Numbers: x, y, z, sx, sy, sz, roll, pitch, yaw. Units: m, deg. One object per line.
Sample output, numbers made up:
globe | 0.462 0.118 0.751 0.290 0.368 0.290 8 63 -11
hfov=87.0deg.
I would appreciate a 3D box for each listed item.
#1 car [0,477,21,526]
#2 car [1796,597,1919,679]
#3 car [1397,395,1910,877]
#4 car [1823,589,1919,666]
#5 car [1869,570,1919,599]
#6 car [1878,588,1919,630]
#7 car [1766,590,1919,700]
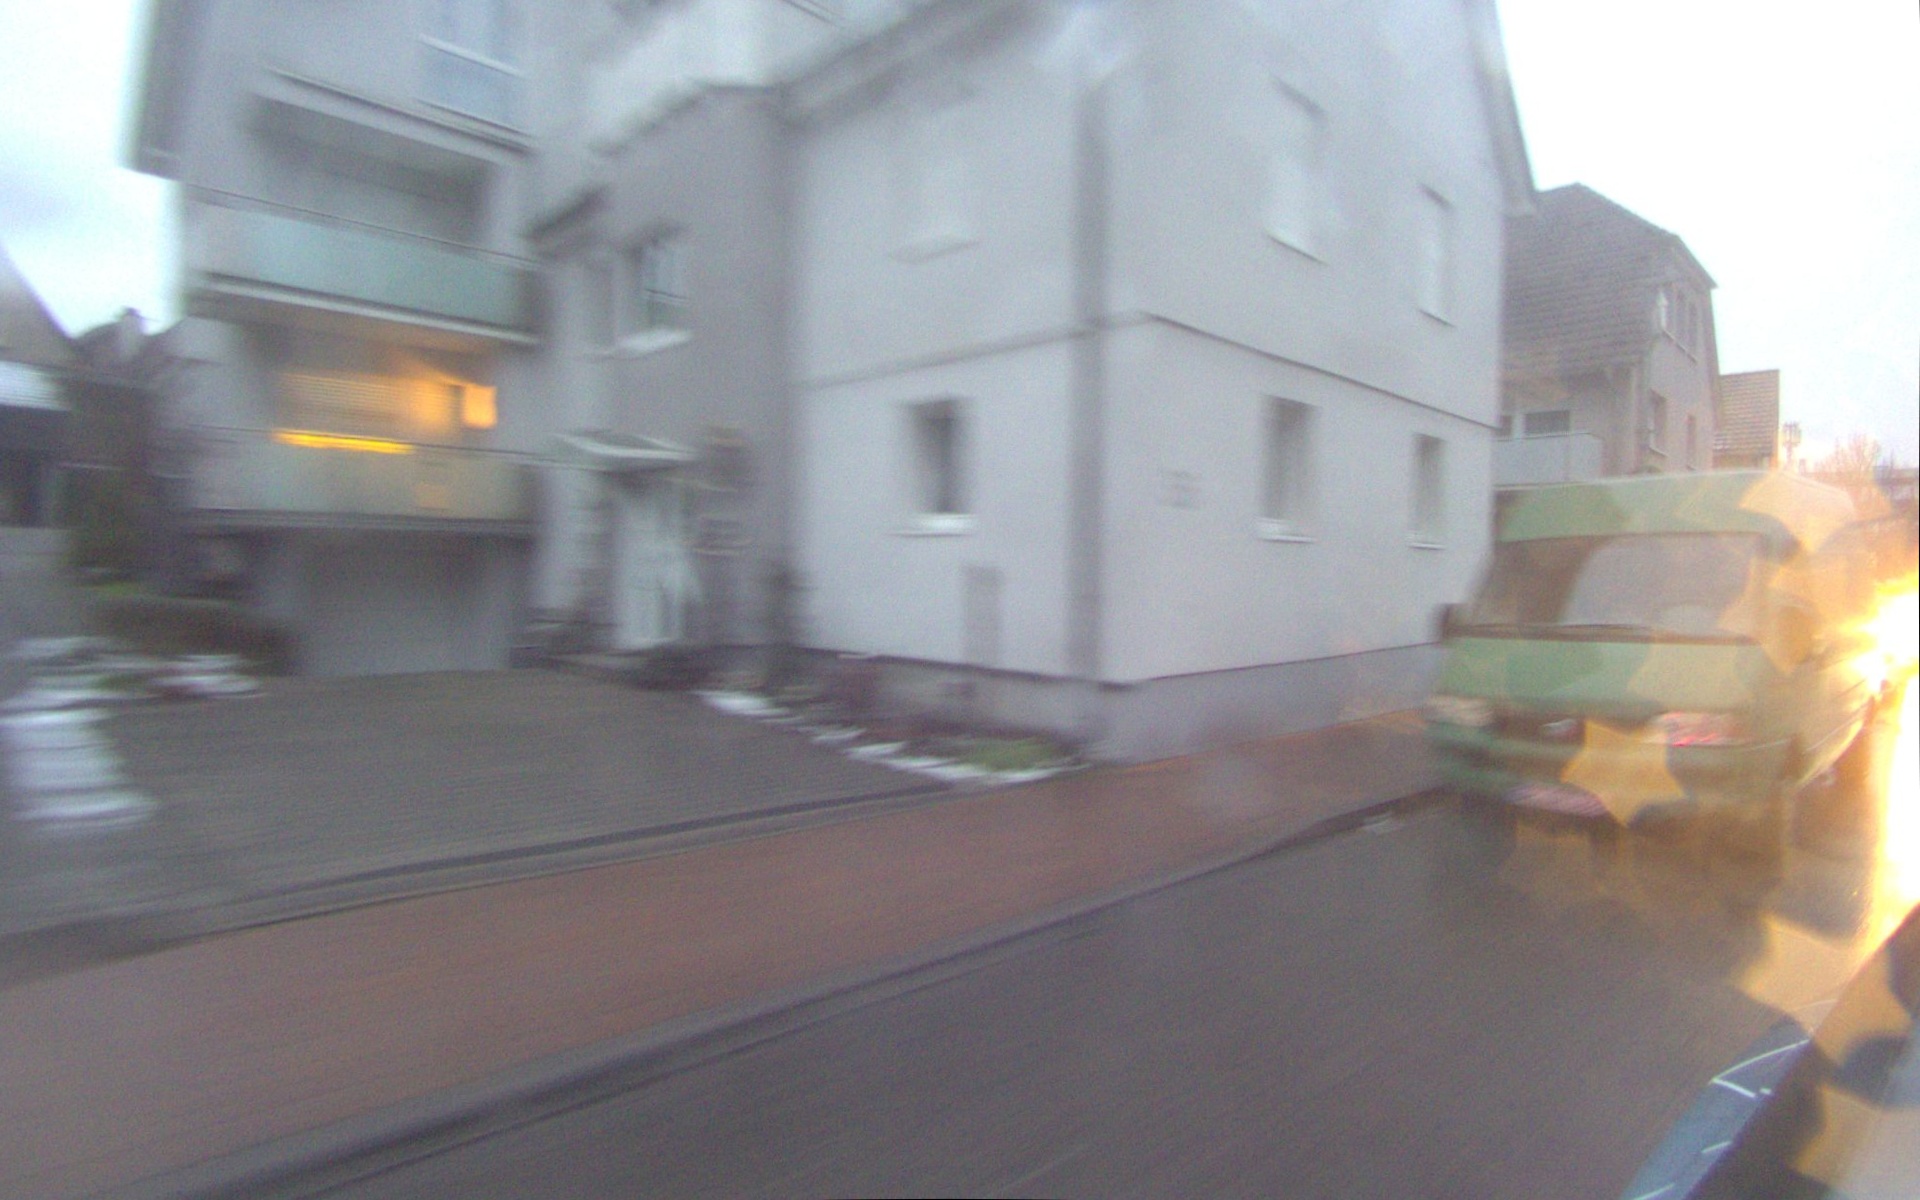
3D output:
car | -32.916 -3.349 33.907 3.988 1.553 1.847 5 3 43
car | 17.996 0.671 20.118 1.736 1.424 4.235 2 1 45
car | 5.632 0.170 7.823 5.518 2.485 2.012 0 0 -42
car | 21.163 0.559 23.169 1.811 1.558 4.235 2 2 45
car | 64.366 -1.047 68.893 1.829 1.907 4.856 1 1 19
car | 37.126 0.332 39.213 1.982 1.577 4.177 1 1 39
car | 14.141 0.618 16.066 1.644 1.496 4.301 2 1 45
